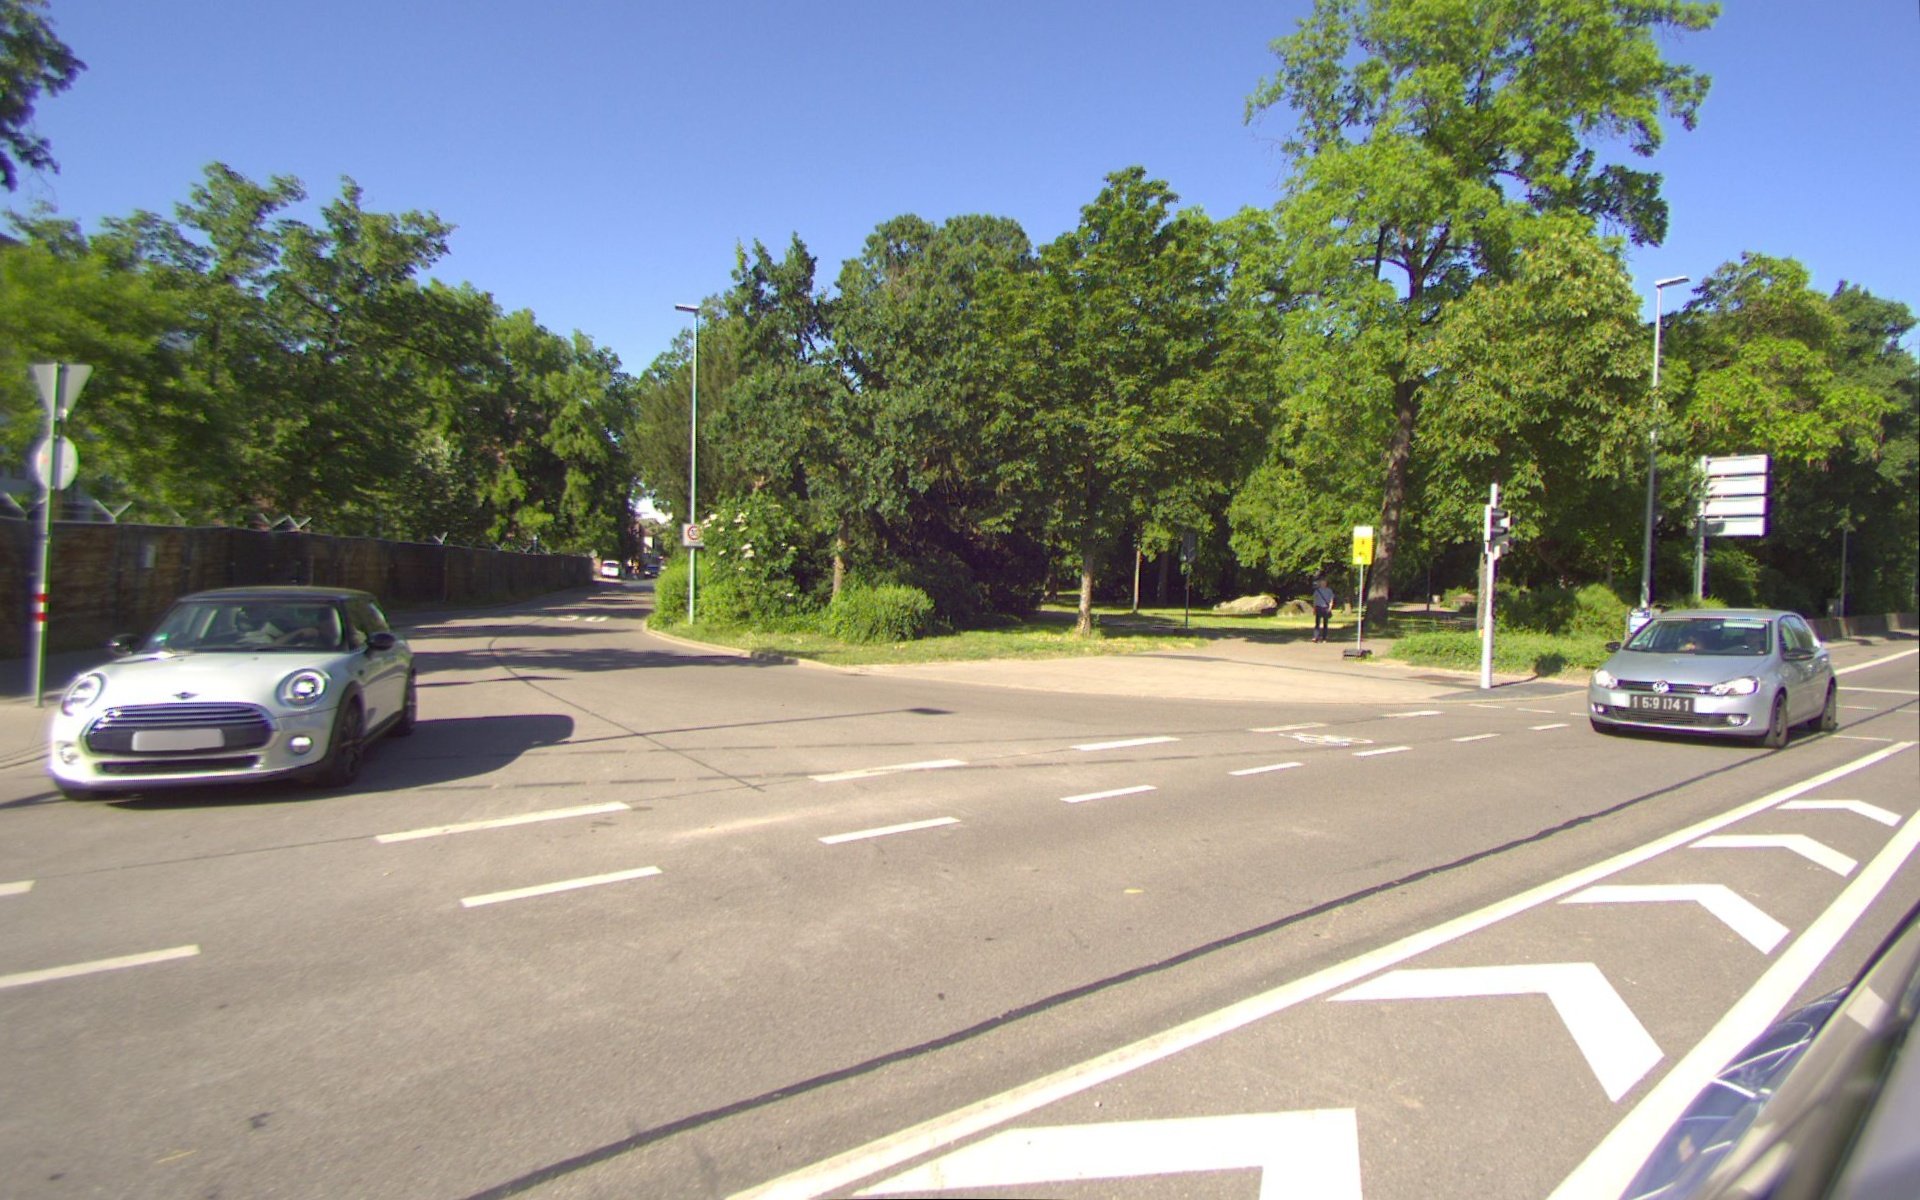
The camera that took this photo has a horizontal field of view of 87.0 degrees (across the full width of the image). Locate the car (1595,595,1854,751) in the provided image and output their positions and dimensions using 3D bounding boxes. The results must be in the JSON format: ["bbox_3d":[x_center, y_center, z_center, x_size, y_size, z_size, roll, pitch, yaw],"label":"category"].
[{"bbox_3d":[9.051,0.709,11.871,3.931,1.492,1.701,0,1,-42],"label":"car"}]

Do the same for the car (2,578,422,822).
[{"bbox_3d":[-5.558,0.564,8.092,1.735,1.454,3.720,0,1,-21],"label":"car"}]

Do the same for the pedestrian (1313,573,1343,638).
[{"bbox_3d":[9.869,0.137,27.156,0.729,1.724,0.869,1,0,20],"label":"pedestrian"}]

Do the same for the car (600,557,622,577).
[{"bbox_3d":[-37.820,-3.570,109.715,1.958,2.039,4.009,0,1,-15],"label":"car"}]

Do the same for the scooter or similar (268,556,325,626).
[{"bbox_3d":[-16.656,-0.237,25.449,0.563,1.705,2.081,0,1,-14],"label":"scooter or similar"}]

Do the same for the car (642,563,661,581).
[{"bbox_3d":[-35.651,-3.257,116.868,1.958,2.039,4.009,0,1,-18],"label":"car"}]
